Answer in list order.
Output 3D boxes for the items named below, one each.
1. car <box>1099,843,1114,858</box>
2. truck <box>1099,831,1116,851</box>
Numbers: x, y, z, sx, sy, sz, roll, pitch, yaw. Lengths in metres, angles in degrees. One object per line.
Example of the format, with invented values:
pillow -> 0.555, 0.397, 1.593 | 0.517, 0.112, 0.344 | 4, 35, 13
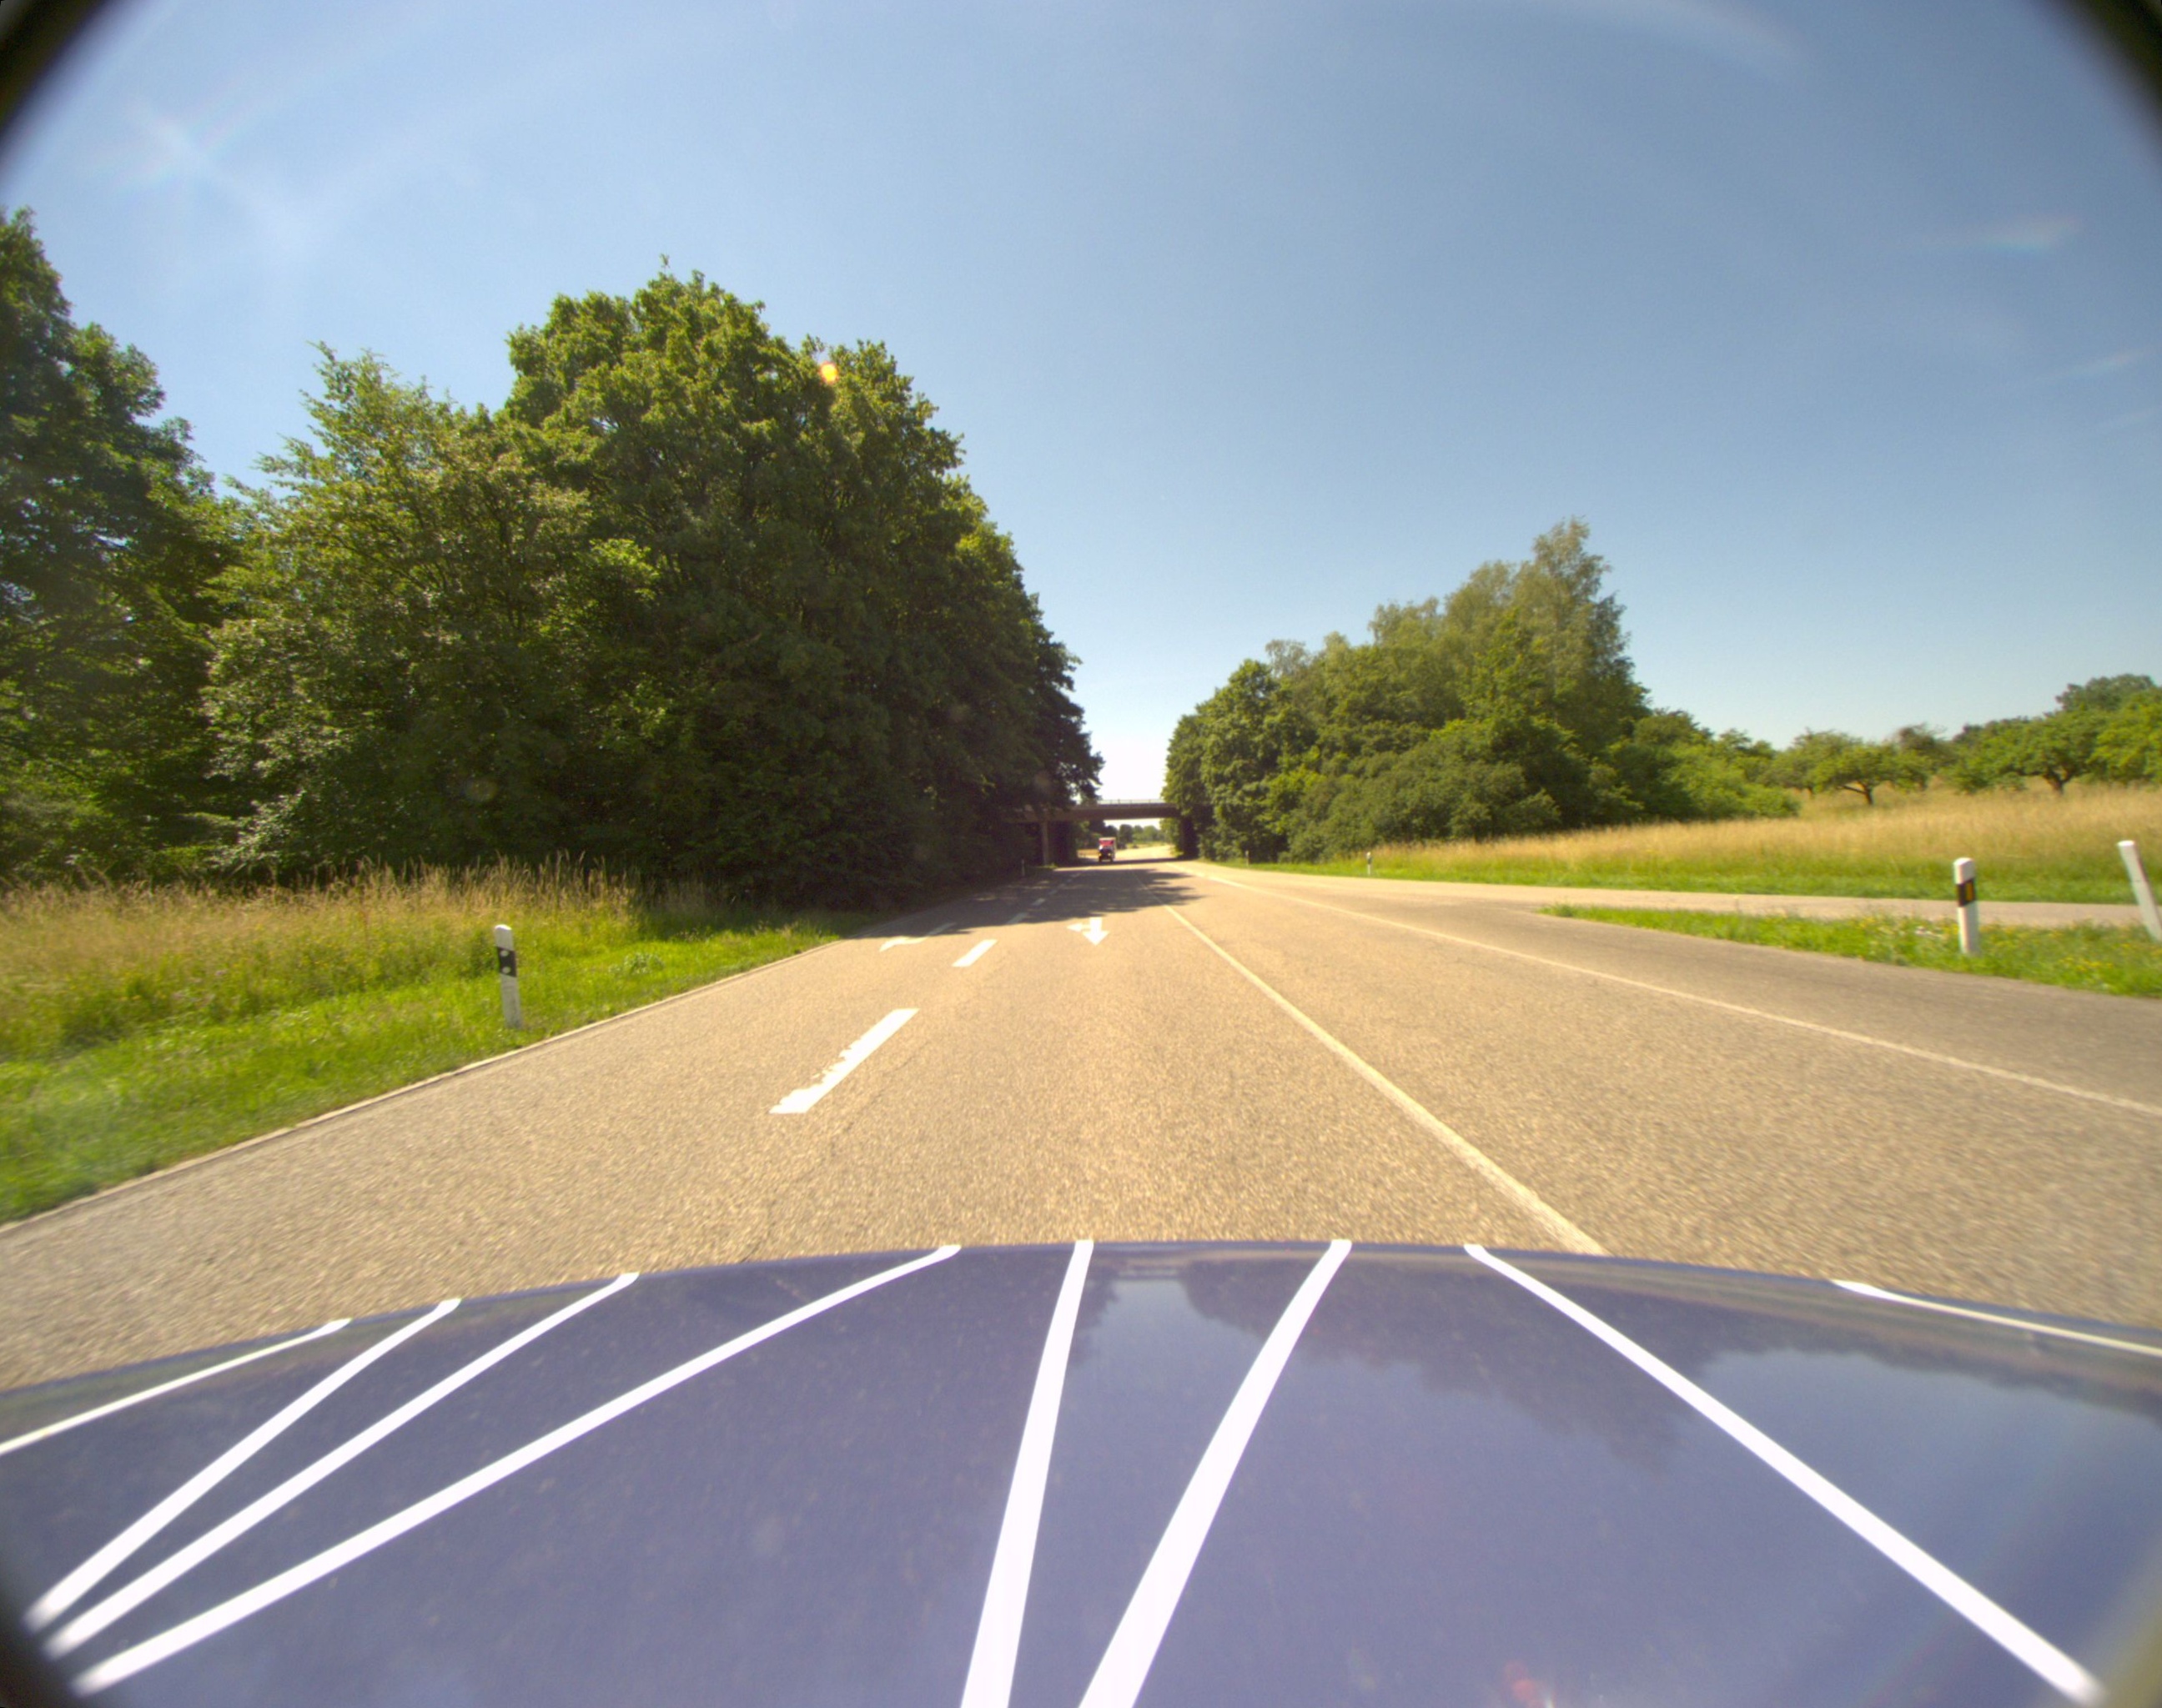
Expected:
car -> 3.196, -0.476, 95.659 | 1.746, 1.833, 4.000 | -2, 1, 2
truck -> 4.079, -2.041, 117.972 | 2.457, 2.927, 6.973 | -2, 1, 2
